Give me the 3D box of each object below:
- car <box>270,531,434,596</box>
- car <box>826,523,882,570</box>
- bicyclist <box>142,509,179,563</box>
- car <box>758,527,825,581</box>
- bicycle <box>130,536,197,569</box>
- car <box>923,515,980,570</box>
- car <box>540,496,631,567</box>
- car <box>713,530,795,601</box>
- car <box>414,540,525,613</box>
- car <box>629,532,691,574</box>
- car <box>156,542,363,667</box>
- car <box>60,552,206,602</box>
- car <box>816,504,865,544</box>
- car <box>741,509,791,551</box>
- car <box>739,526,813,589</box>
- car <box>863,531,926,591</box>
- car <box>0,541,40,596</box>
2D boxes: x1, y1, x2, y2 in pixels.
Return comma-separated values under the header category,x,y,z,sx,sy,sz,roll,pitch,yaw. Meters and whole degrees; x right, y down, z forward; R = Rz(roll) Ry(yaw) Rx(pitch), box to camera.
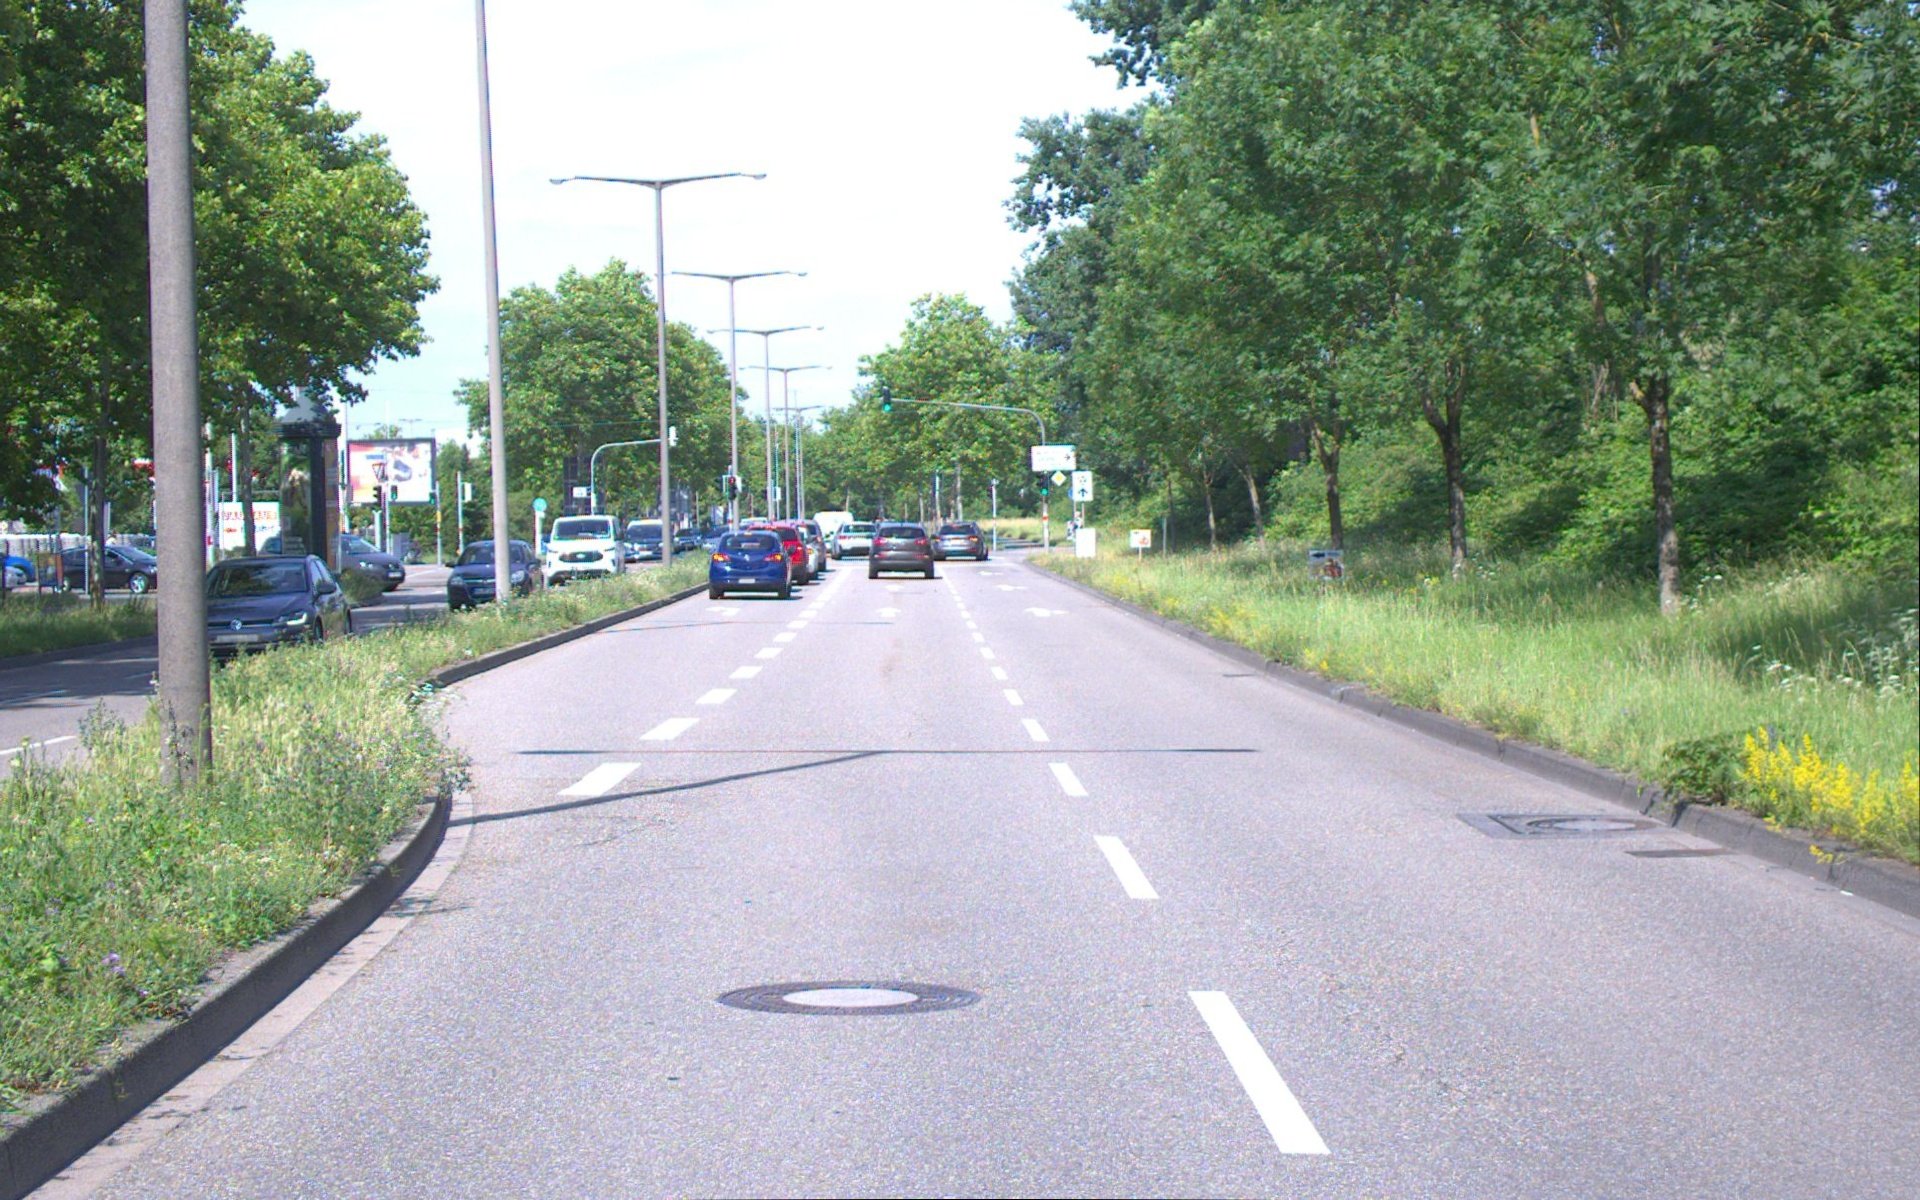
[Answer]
category,x,y,z,sx,sy,sz,roll,pitch,yaw
car,-17.420,-1.048,98.456,4.392,1.744,1.866,-1,1,29
car,-4.007,-2.035,130.411,1.993,1.738,4.266,-1,1,-1
bicyclist,-25.958,-2.080,111.578,0.897,1.709,0.783,-3,4,-36
car,-4.708,-1.305,96.419,1.766,1.474,4.136,0,1,-1
bicycle,-25.875,-1.554,111.710,1.948,0.979,0.789,-3,4,-37
car,-0.331,-2.129,125.890,2.018,1.831,4.001,0,3,-1
car,-10.598,-1.950,97.629,2.116,1.877,5.420,-2,1,-2
car,-4.477,-0.782,75.158,1.626,1.478,4.049,1,1,-1
car,-10.386,-0.522,73.063,1.768,1.464,4.284,-2,1,-1
car,-11.582,-1.843,133.088,1.993,1.525,4.682,-2,1,-1
car,-8.899,0.014,44.005,1.839,1.473,4.166,-2,1,-1
car,-24.577,-0.689,102.180,3.992,1.383,1.763,0,2,26
car,-5.287,-3.374,152.402,1.993,1.702,4.263,-1,1,0
car,-8.823,-3.199,156.842,1.993,1.853,4.000,-1,1,1
car,-4.776,-1.123,89.663,1.782,1.587,4.594,0,1,-1
car,-1.865,-1.137,98.541,1.736,1.530,4.001,0,3,-1
car,-30.205,-0.914,104.063,4.152,1.597,1.722,-1,1,11
